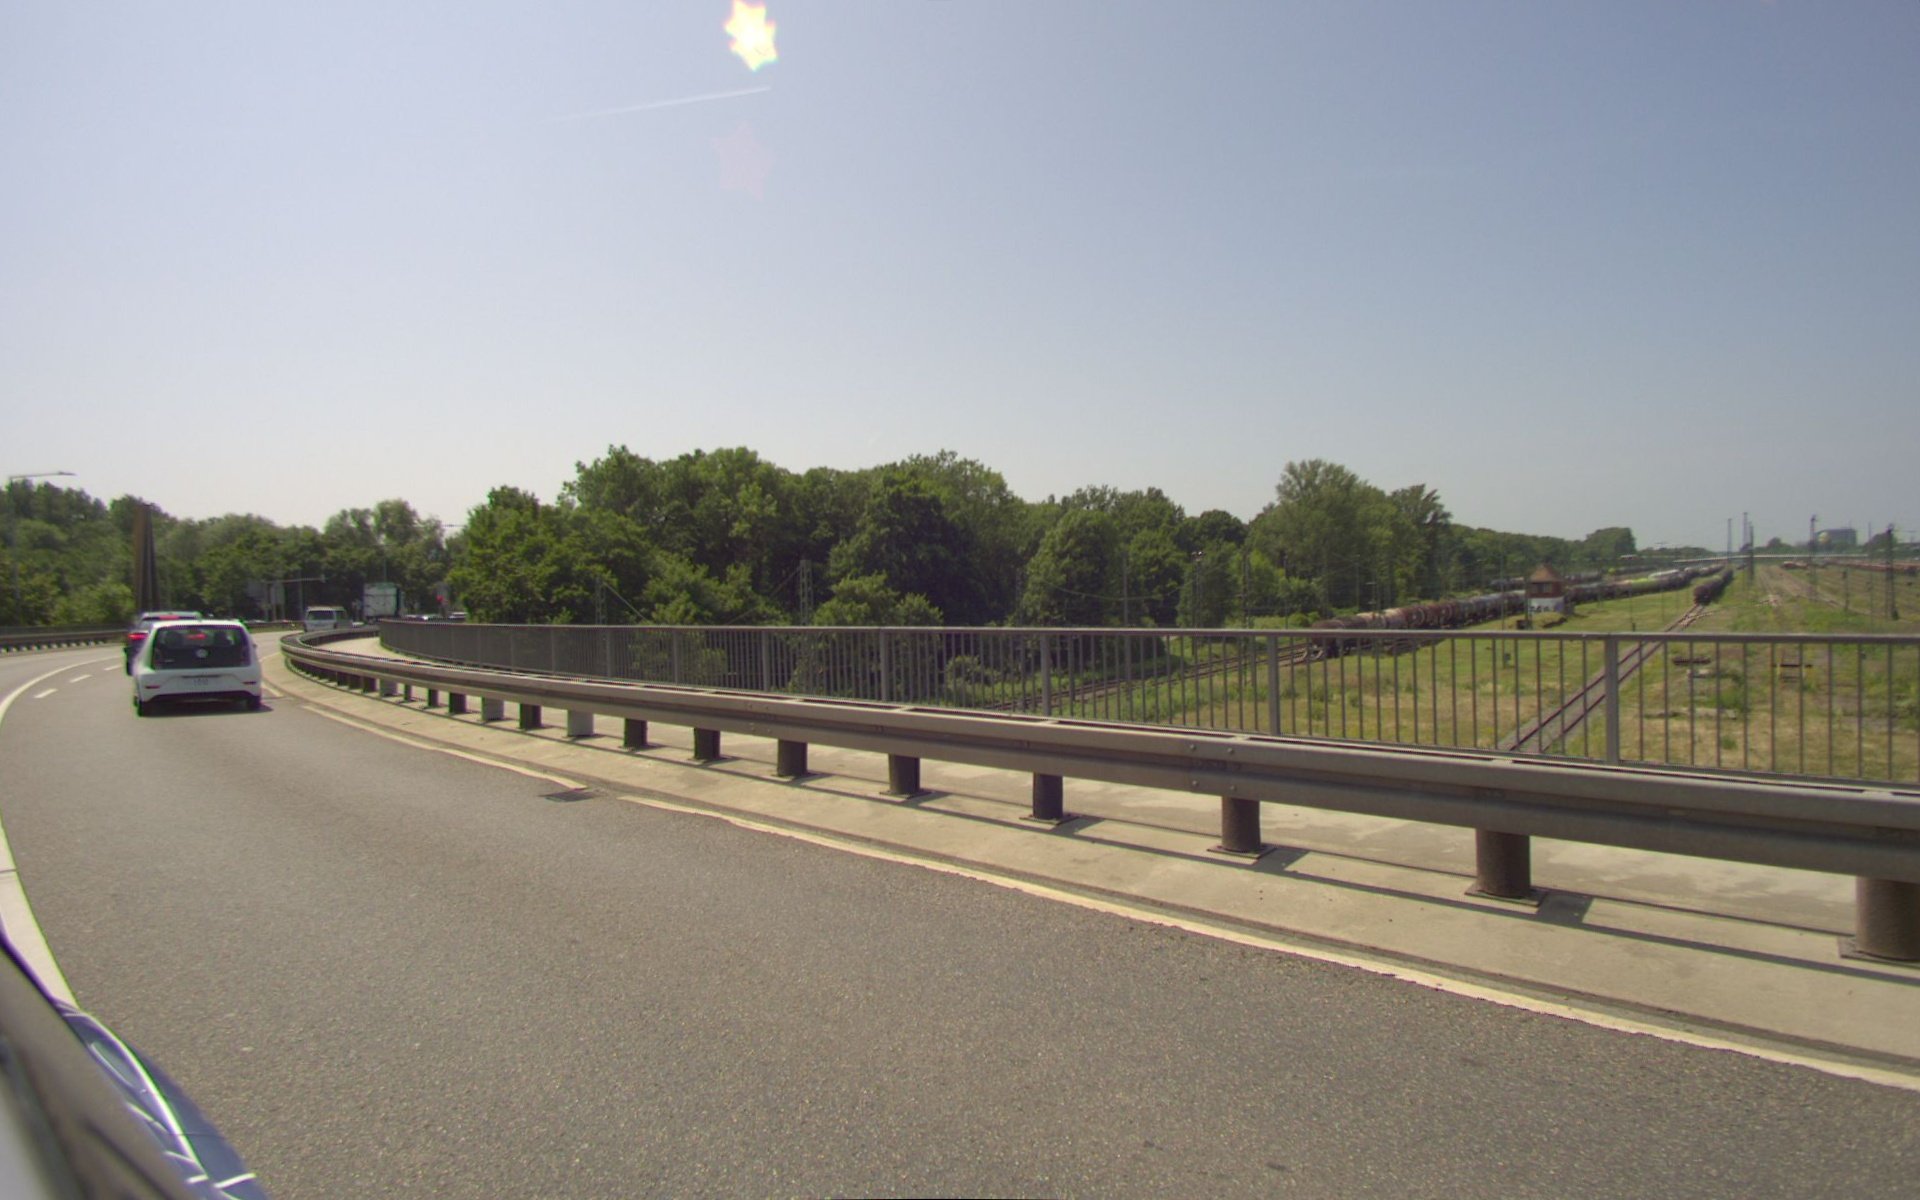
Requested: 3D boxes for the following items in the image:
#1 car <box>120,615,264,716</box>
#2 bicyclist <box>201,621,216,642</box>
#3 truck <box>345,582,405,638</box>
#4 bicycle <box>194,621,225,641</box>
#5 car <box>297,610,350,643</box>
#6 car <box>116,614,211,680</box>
[{"bbox_3d":[-12.952,1.035,17.005,1.644,1.475,3.491,-1,-1,-42],"label":"car"},{"bbox_3d":[-59.942,2.527,80.730,0.685,1.611,0.667,-2,-1,16],"label":"bicyclist"},{"bbox_3d":[-43.589,0.782,75.567,2.668,4.022,6.205,0,-2,-19],"label":"truck"},{"bbox_3d":[-59.868,2.466,80.726,2.353,1.586,0.653,-2,-1,16],"label":"bicycle"},{"bbox_3d":[-39.653,1.642,63.198,1.835,2.015,4.829,0,-1,-20],"label":"car"},{"bbox_3d":[-21.842,1.260,27.901,1.817,1.648,4.243,0,-2,-35],"label":"car"}]
